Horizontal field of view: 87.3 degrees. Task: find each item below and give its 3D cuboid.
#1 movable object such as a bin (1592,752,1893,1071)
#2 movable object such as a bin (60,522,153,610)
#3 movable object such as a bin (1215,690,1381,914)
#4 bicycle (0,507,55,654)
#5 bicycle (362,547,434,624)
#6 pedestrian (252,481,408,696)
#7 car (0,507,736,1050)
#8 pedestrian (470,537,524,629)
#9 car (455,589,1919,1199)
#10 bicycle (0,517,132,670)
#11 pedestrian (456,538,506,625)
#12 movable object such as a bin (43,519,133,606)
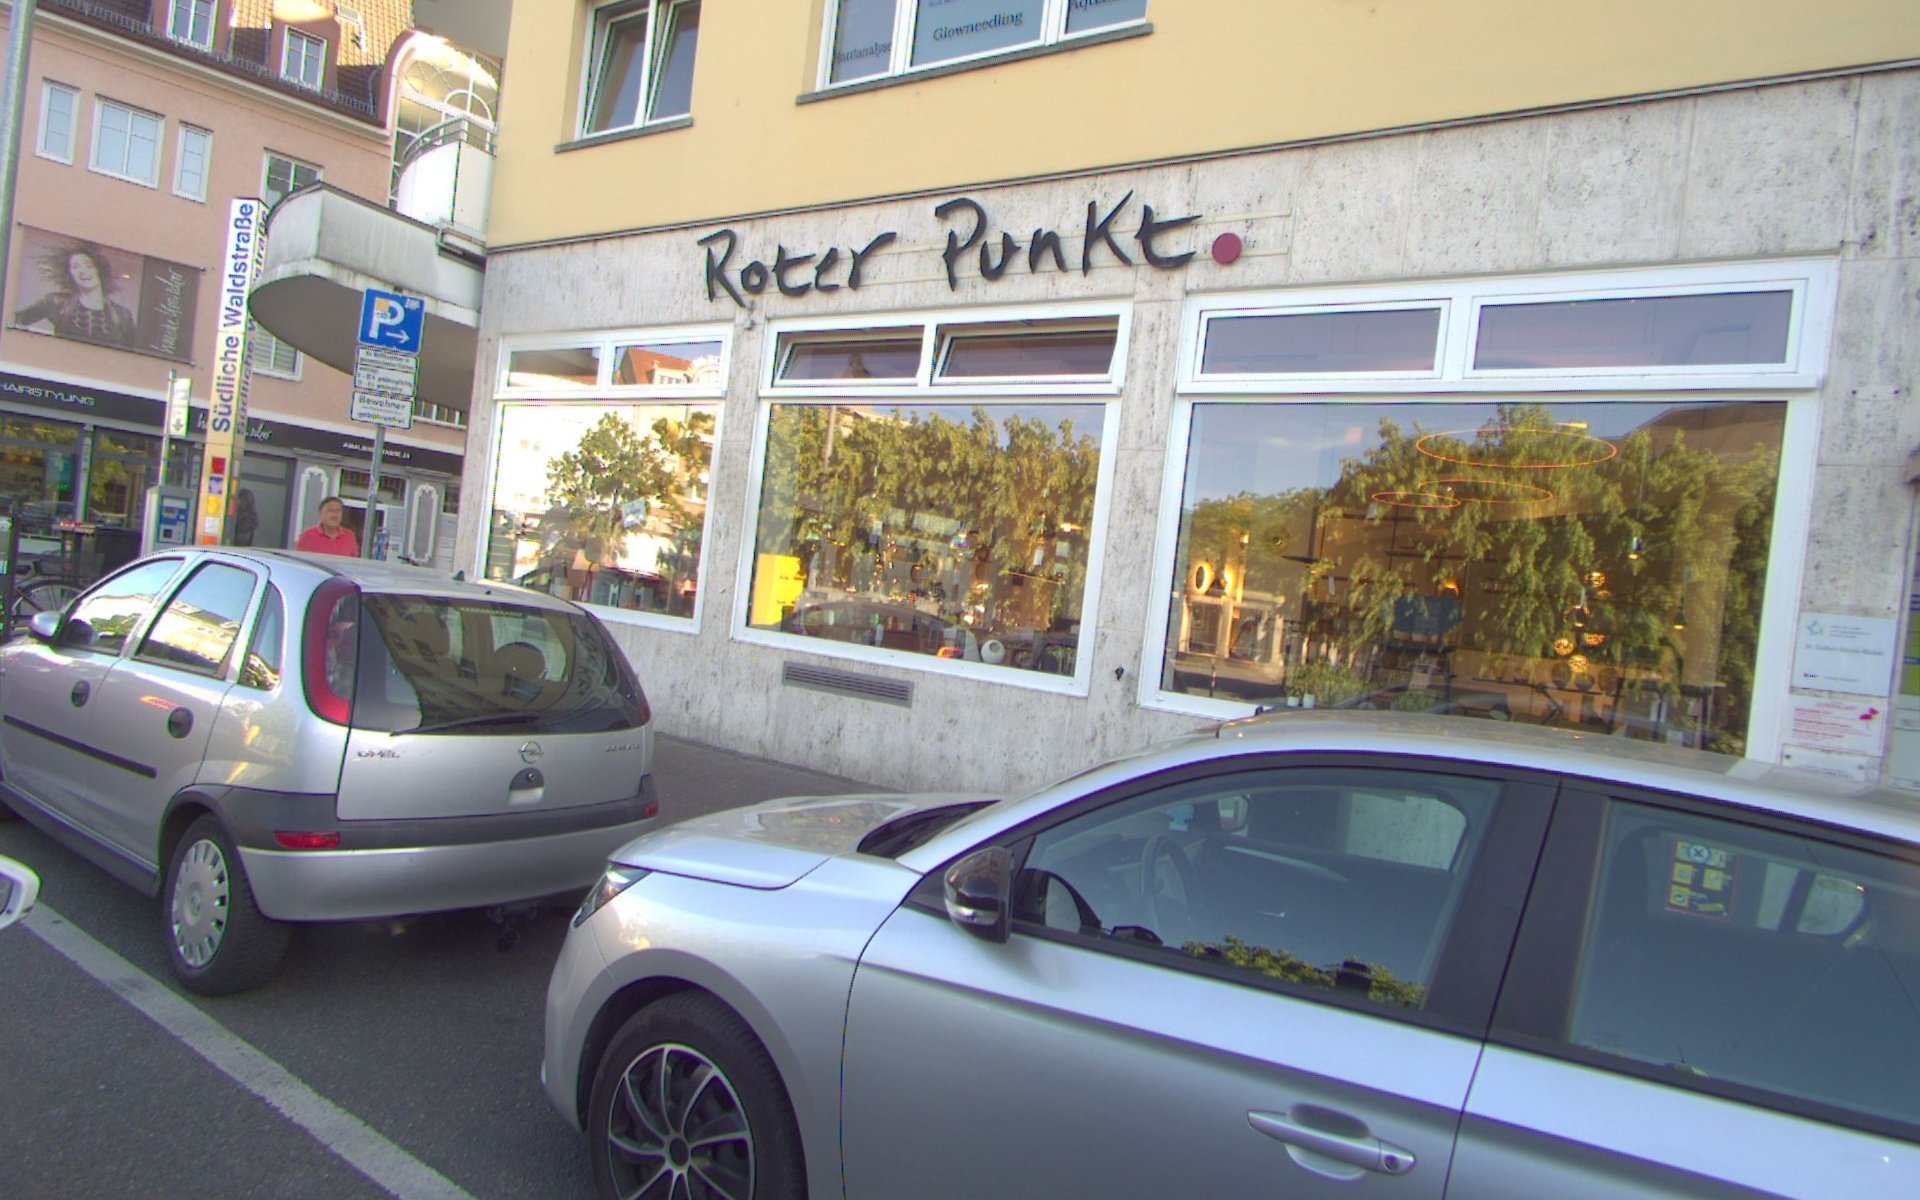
[{"bbox_3d":[3.404,1.303,4.484,0.879,1.066,0.751,7,0,32],"label":"movable object such as a bin"},{"bbox_3d":[-11.903,-0.468,14.037,0.617,1.105,0.754,6,-1,34],"label":"movable object such as a bin"},{"bbox_3d":[1.874,1.058,5.530,0.592,1.041,0.811,7,0,32],"label":"movable object such as a bin"},{"bbox_3d":[-9.111,-0.236,8.710,0.778,1.284,1.721,7,1,37],"label":"bicycle"},{"bbox_3d":[-10.054,-0.284,17.969,0.656,1.213,2.187,7,-1,-39],"label":"bicycle"},{"bbox_3d":[-5.709,-0.109,9.108,0.994,1.808,0.862,7,3,40],"label":"pedestrian"},{"bbox_3d":[-2.942,0.479,4.470,3.583,1.397,1.616,7,-2,32],"label":"car"},{"bbox_3d":[-9.305,-0.347,20.218,0.702,1.734,0.732,7,0,-35],"label":"pedestrian"},{"bbox_3d":[0.778,0.926,2.318,3.643,1.415,1.653,7,-1,30],"label":"car"},{"bbox_3d":[-8.106,-0.084,8.237,0.681,1.208,1.885,8,1,37],"label":"bicycle"},{"bbox_3d":[-9.931,-0.386,20.845,0.772,1.704,0.820,5,0,-30],"label":"pedestrian"},{"bbox_3d":[-12.438,-0.527,14.358,0.617,1.105,0.734,6,-1,34],"label":"movable object such as a bin"}]
